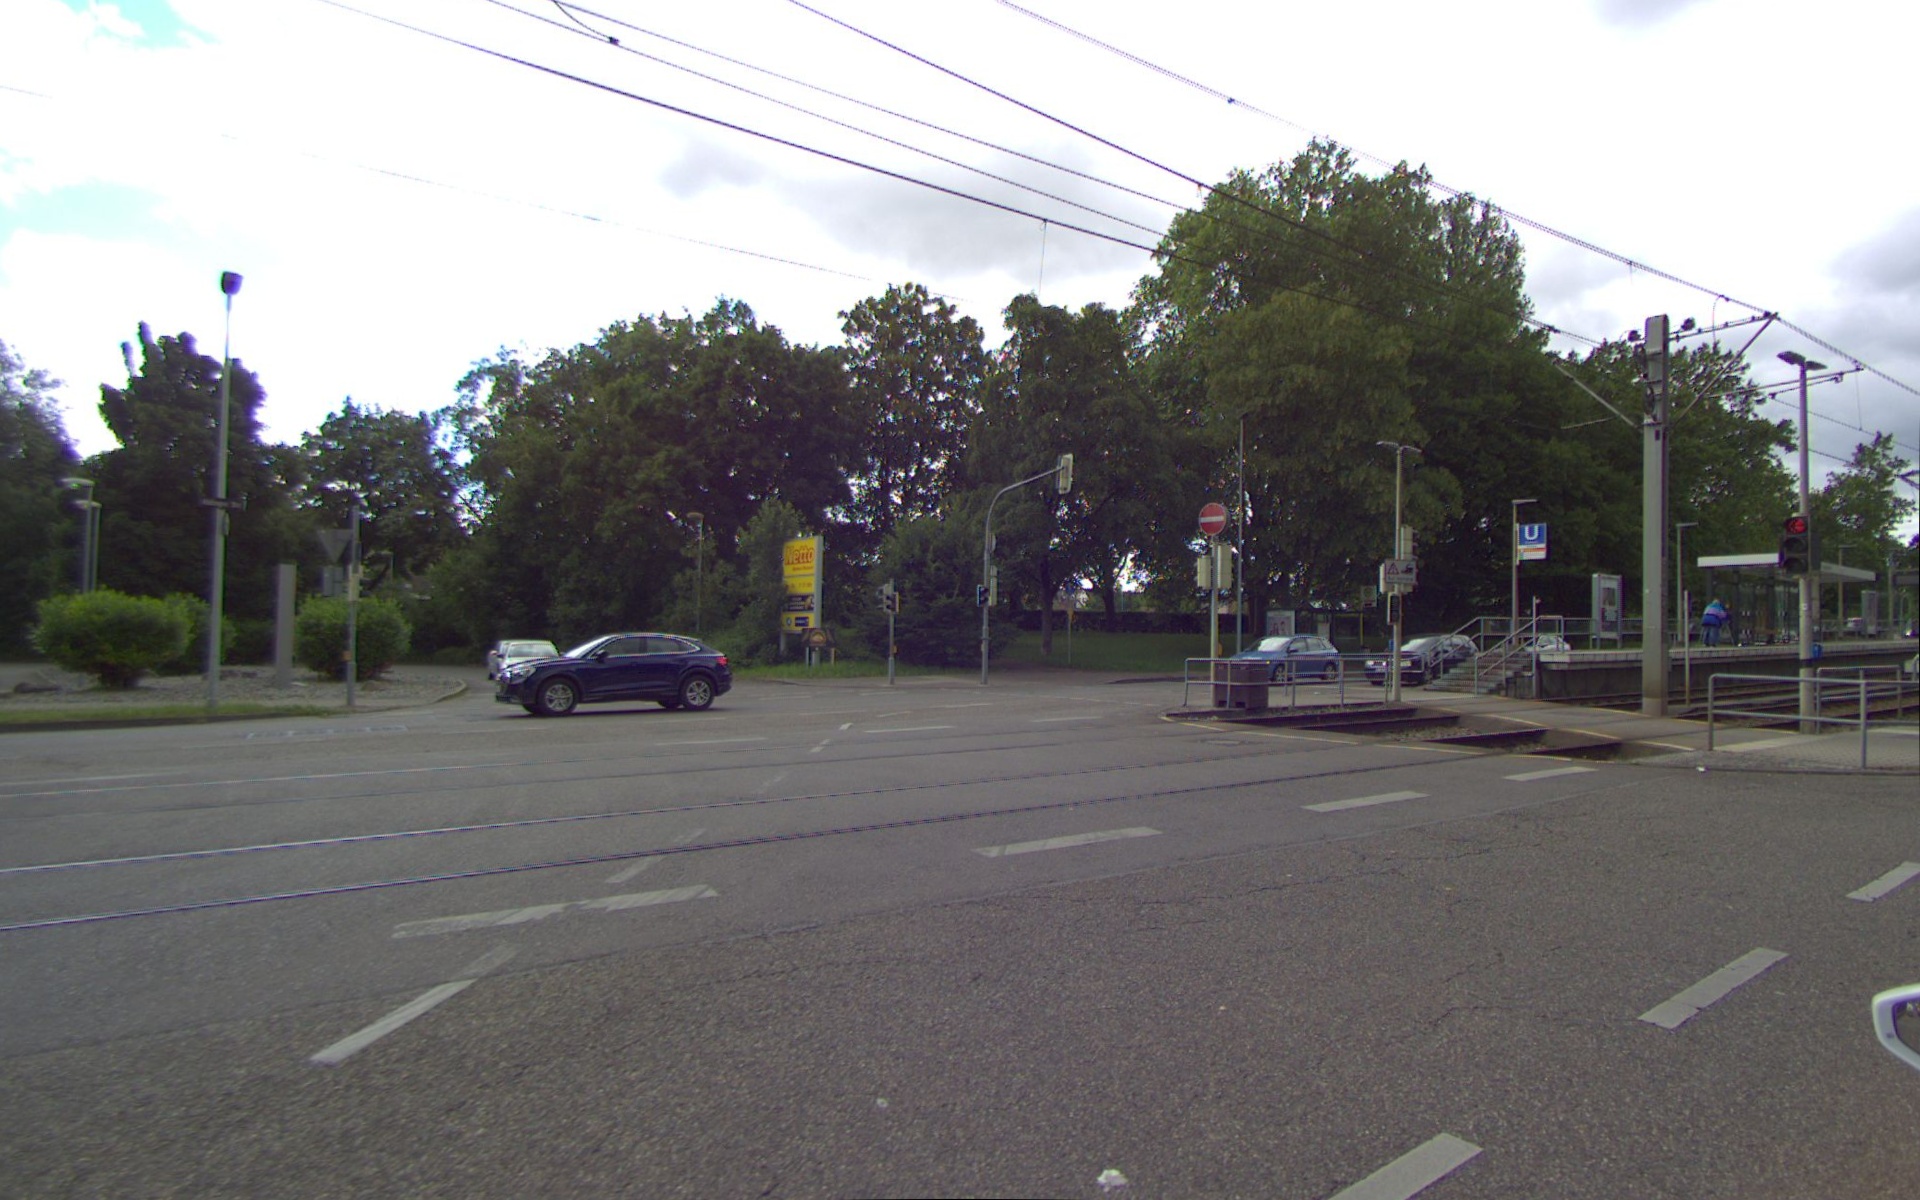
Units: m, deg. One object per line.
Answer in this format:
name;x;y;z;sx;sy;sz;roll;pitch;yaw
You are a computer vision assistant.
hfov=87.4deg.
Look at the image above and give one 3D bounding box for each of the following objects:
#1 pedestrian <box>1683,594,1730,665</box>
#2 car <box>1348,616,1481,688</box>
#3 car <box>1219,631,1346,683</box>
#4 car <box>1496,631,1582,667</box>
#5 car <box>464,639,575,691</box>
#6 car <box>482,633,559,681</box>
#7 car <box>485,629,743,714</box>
pedestrian;23.989;0.945;32.288;0.966;2.215;0.964;1;-1;-33
car;13.028;1.467;28.721;3.961;1.885;1.685;2;0;-36
car;9.582;1.689;29.747;4.017;1.465;1.583;3;-4;-37
car;24.897;2.136;43.173;3.961;1.464;1.675;2;-5;-36
car;-13.156;1.892;29.915;1.835;1.426;3.842;3;-3;-43
car;-15.505;1.976;35.360;1.828;1.572;3.964;2;-3;-33
car;-6.779;1.377;19.890;4.463;1.501;1.981;2;-4;-36
